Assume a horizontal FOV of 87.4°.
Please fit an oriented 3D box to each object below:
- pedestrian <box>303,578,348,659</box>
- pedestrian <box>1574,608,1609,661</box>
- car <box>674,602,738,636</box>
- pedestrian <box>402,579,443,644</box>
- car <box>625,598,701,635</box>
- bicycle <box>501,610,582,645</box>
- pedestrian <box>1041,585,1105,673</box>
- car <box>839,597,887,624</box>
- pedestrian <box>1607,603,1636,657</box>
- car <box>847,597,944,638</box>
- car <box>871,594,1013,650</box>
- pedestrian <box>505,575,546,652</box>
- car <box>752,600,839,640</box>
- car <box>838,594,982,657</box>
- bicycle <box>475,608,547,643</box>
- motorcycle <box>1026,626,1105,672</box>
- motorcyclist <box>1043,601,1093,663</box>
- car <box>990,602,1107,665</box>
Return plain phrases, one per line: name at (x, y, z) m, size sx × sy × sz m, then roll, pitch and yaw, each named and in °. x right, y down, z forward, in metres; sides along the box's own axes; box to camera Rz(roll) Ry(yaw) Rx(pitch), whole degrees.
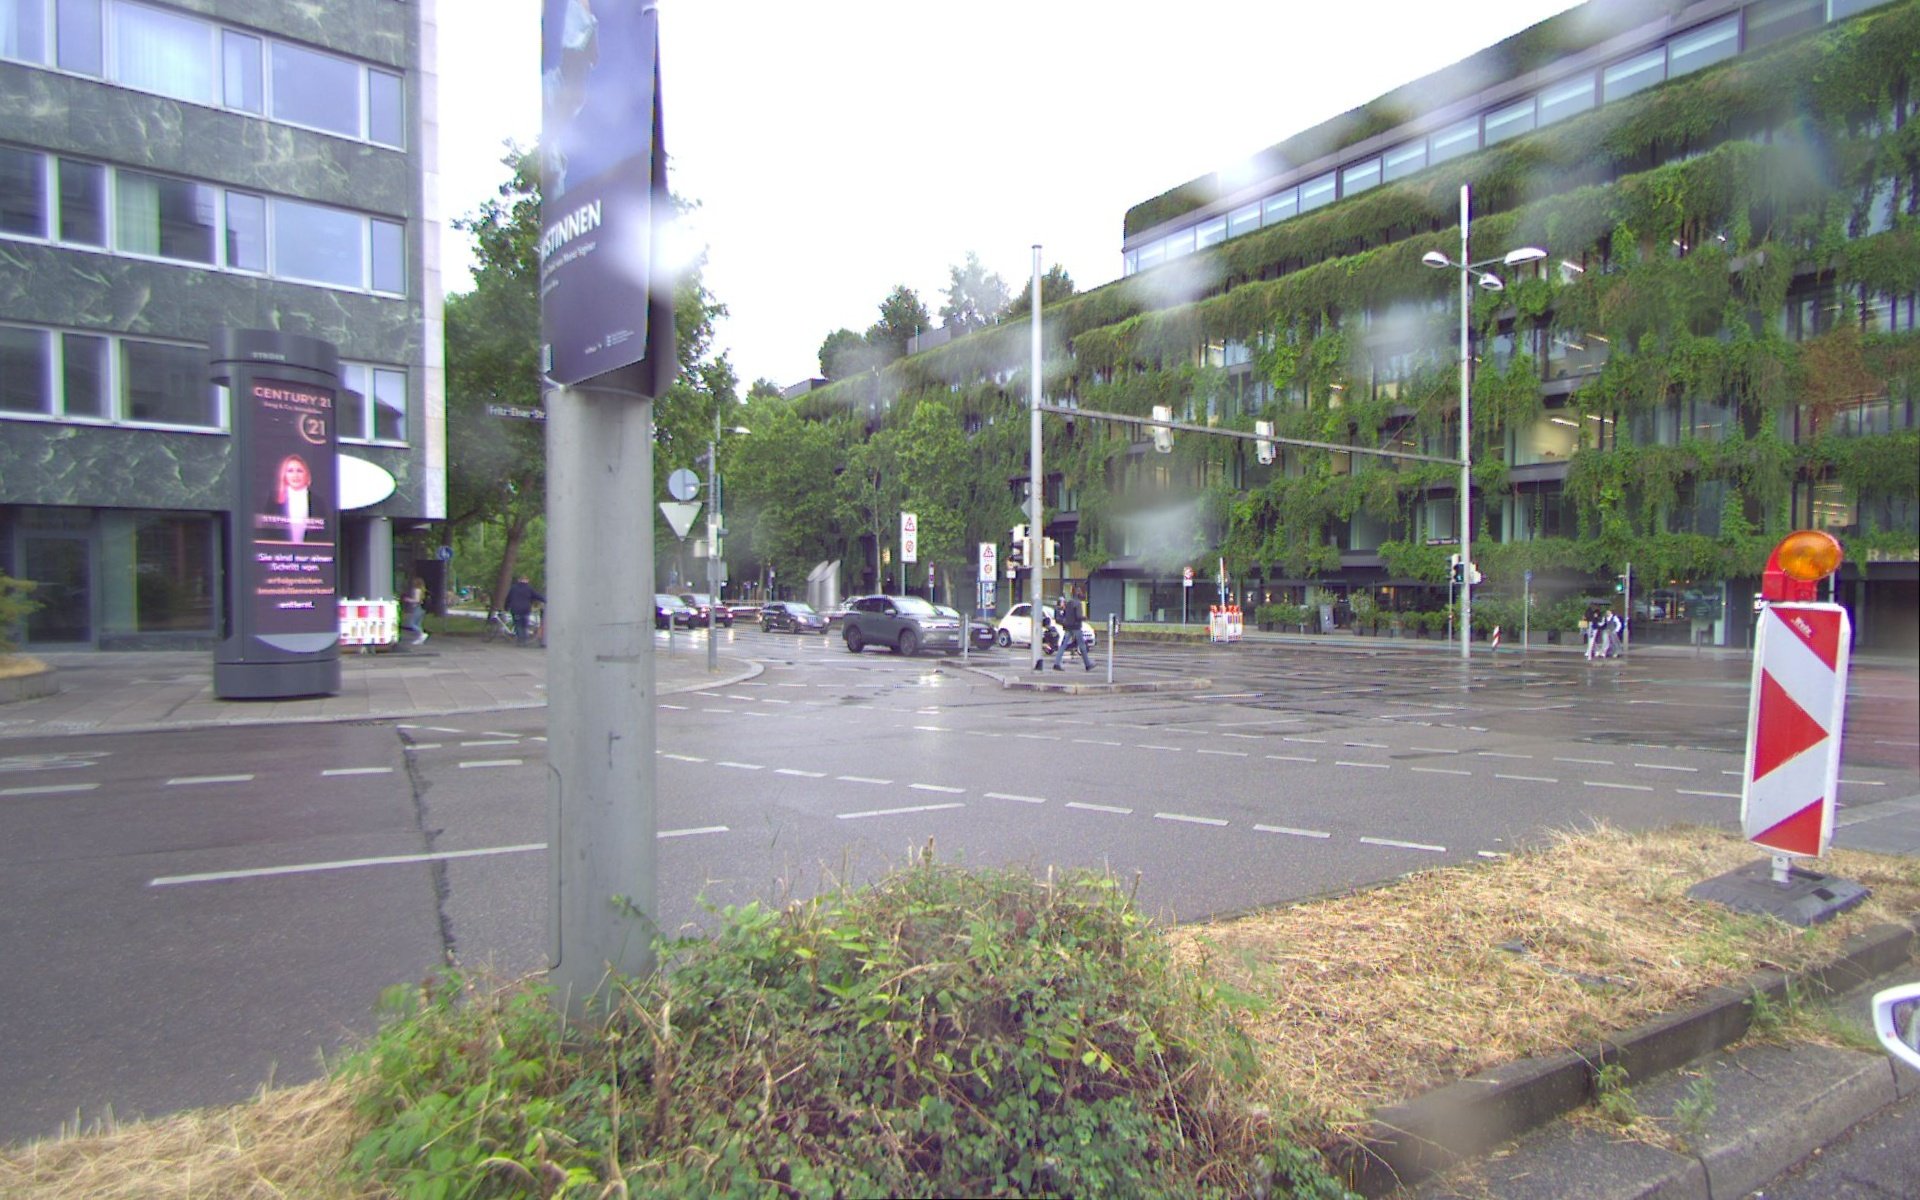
pedestrian at (-15.220, 0.455, 24.092) m, size 0.868 × 1.878 × 1.015 m, roll 1°, pitch -4°, yaw -34°
pedestrian at (21.674, 1.170, 34.474) m, size 0.923 × 1.781 × 1.167 m, roll 1°, pitch 0°, yaw 37°
car at (-13.753, 1.002, 54.282) m, size 1.805 × 1.674 × 4.053 m, roll 3°, pitch -1°, yaw -40°
pedestrian at (-13.749, 0.301, 25.696) m, size 0.912 × 1.606 × 0.828 m, roll 1°, pitch -4°, yaw -30°
car at (-14.676, 0.784, 49.508) m, size 1.986 × 1.674 × 4.050 m, roll 3°, pitch -1°, yaw -42°
bicycle at (-12.120, 0.792, 29.162) m, size 2.170 × 0.968 × 0.423 m, roll 2°, pitch -1°, yaw -44°
pedestrian at (2.534, 0.632, 22.549) m, size 1.225 × 1.910 × 0.685 m, roll 1°, pitch 2°, yaw -34°
car at (-7.507, 0.808, 77.303) m, size 1.979 × 2.040 × 4.073 m, roll 1°, pitch -1°, yaw -34°
pedestrian at (22.439, 0.998, 34.075) m, size 0.731 × 1.781 × 0.972 m, roll 1°, pitch 0°, yaw 37°
car at (-2.589, 0.664, 39.685) m, size 1.858 × 1.543 × 3.855 m, roll 1°, pitch 0°, yaw -42°
car at (-0.664, 0.662, 32.751) m, size 1.957 × 1.674 × 4.755 m, roll 1°, pitch 0°, yaw -43°
pedestrian at (-11.064, 0.349, 25.586) m, size 0.887 × 1.909 × 0.781 m, roll 1°, pitch -4°, yaw -30°
car at (-7.534, 0.880, 45.735) m, size 1.986 × 1.674 × 4.050 m, roll 3°, pitch -1°, yaw -42°
car at (-1.513, 0.678, 29.062) m, size 1.985 × 1.674 × 4.186 m, roll 1°, pitch 0°, yaw -42°
bicycle at (-12.388, 0.708, 27.776) m, size 1.773 × 0.946 × 0.473 m, roll 1°, pitch 0°, yaw -21°
motorcycle at (3.034, 1.404, 29.050) m, size 2.204 × 1.227 × 0.843 m, roll 1°, pitch 0°, yaw 44°
motorcyclist at (3.112, 0.914, 28.980) m, size 1.173 × 1.725 × 0.843 m, roll 1°, pitch 0°, yaw 44°
car at (2.907, 1.054, 33.254) m, size 1.985 × 1.948 × 3.417 m, roll 1°, pitch 0°, yaw -42°
